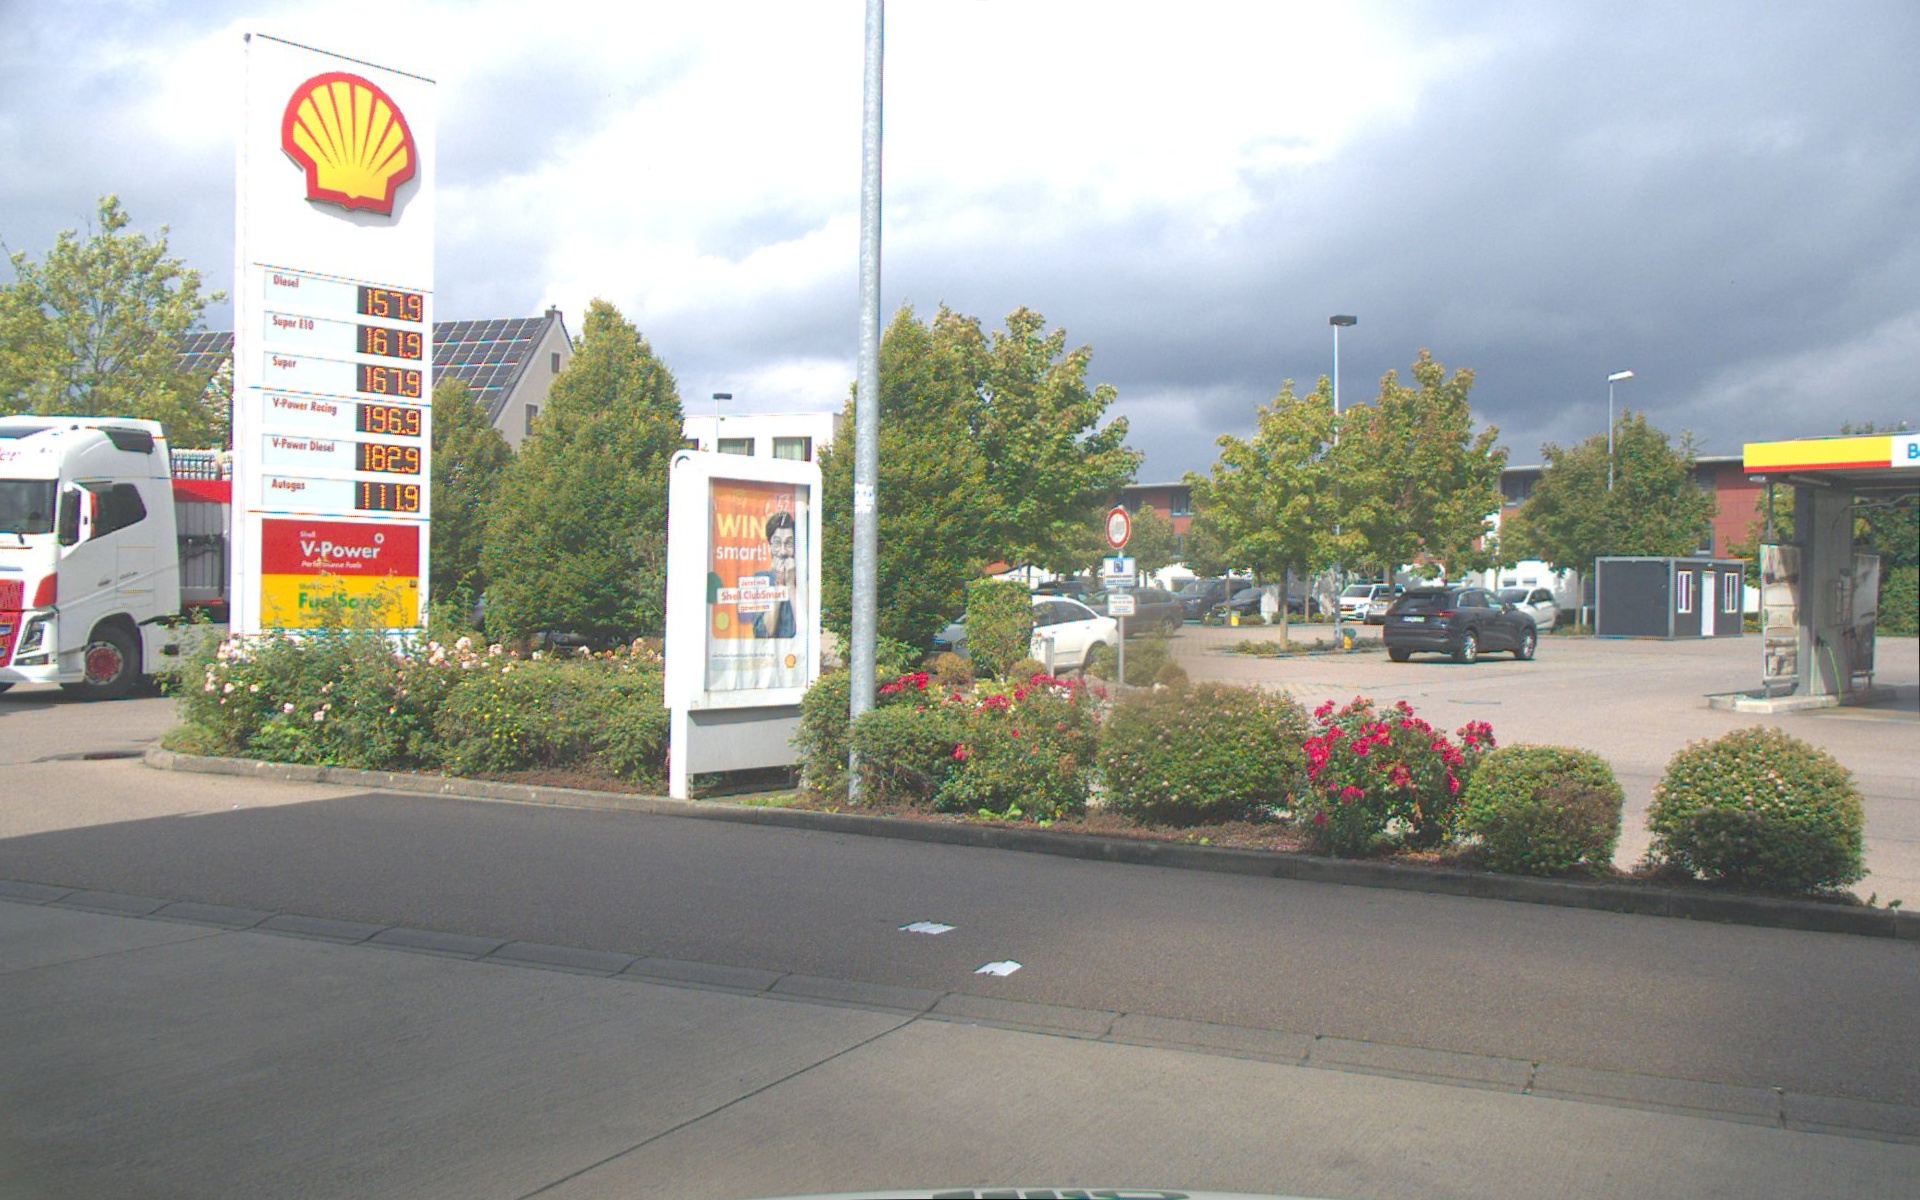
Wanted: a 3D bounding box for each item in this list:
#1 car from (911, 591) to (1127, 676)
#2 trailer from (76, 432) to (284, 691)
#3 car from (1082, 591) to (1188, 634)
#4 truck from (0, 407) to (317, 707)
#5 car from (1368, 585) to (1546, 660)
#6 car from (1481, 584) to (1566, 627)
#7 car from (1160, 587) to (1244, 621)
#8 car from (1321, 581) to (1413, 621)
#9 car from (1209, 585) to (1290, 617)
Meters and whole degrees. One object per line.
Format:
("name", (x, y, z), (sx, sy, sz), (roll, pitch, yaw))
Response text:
("car", (1.141, 0.590, 29.950), (1.348, 1.428, 4.312), (1, -1, 45))
("trailer", (-14.169, -0.560, 30.907), (2.692, 3.842, 12.628), (1, 0, -22))
("car", (5.288, 0.384, 49.805), (3.203, 1.249, 1.481), (1, 0, -45))
("truck", (-12.547, -0.561, 24.727), (2.674, 3.913, 5.923), (1, 0, 10))
("car", (11.139, 0.499, 36.906), (4.467, 1.575, 1.856), (1, 0, -44))
("car", (18.017, 0.186, 52.818), (3.080, 1.330, 1.346), (1, -1, -45))
("car", (9.822, 0.164, 66.945), (3.364, 1.343, 1.719), (1, 0, -45))
("car", (19.927, 0.057, 80.958), (4.839, 1.865, 2.150), (1, 0, -44))
("car", (11.423, 0.060, 65.223), (3.393, 1.199, 1.462), (1, 0, -45))
